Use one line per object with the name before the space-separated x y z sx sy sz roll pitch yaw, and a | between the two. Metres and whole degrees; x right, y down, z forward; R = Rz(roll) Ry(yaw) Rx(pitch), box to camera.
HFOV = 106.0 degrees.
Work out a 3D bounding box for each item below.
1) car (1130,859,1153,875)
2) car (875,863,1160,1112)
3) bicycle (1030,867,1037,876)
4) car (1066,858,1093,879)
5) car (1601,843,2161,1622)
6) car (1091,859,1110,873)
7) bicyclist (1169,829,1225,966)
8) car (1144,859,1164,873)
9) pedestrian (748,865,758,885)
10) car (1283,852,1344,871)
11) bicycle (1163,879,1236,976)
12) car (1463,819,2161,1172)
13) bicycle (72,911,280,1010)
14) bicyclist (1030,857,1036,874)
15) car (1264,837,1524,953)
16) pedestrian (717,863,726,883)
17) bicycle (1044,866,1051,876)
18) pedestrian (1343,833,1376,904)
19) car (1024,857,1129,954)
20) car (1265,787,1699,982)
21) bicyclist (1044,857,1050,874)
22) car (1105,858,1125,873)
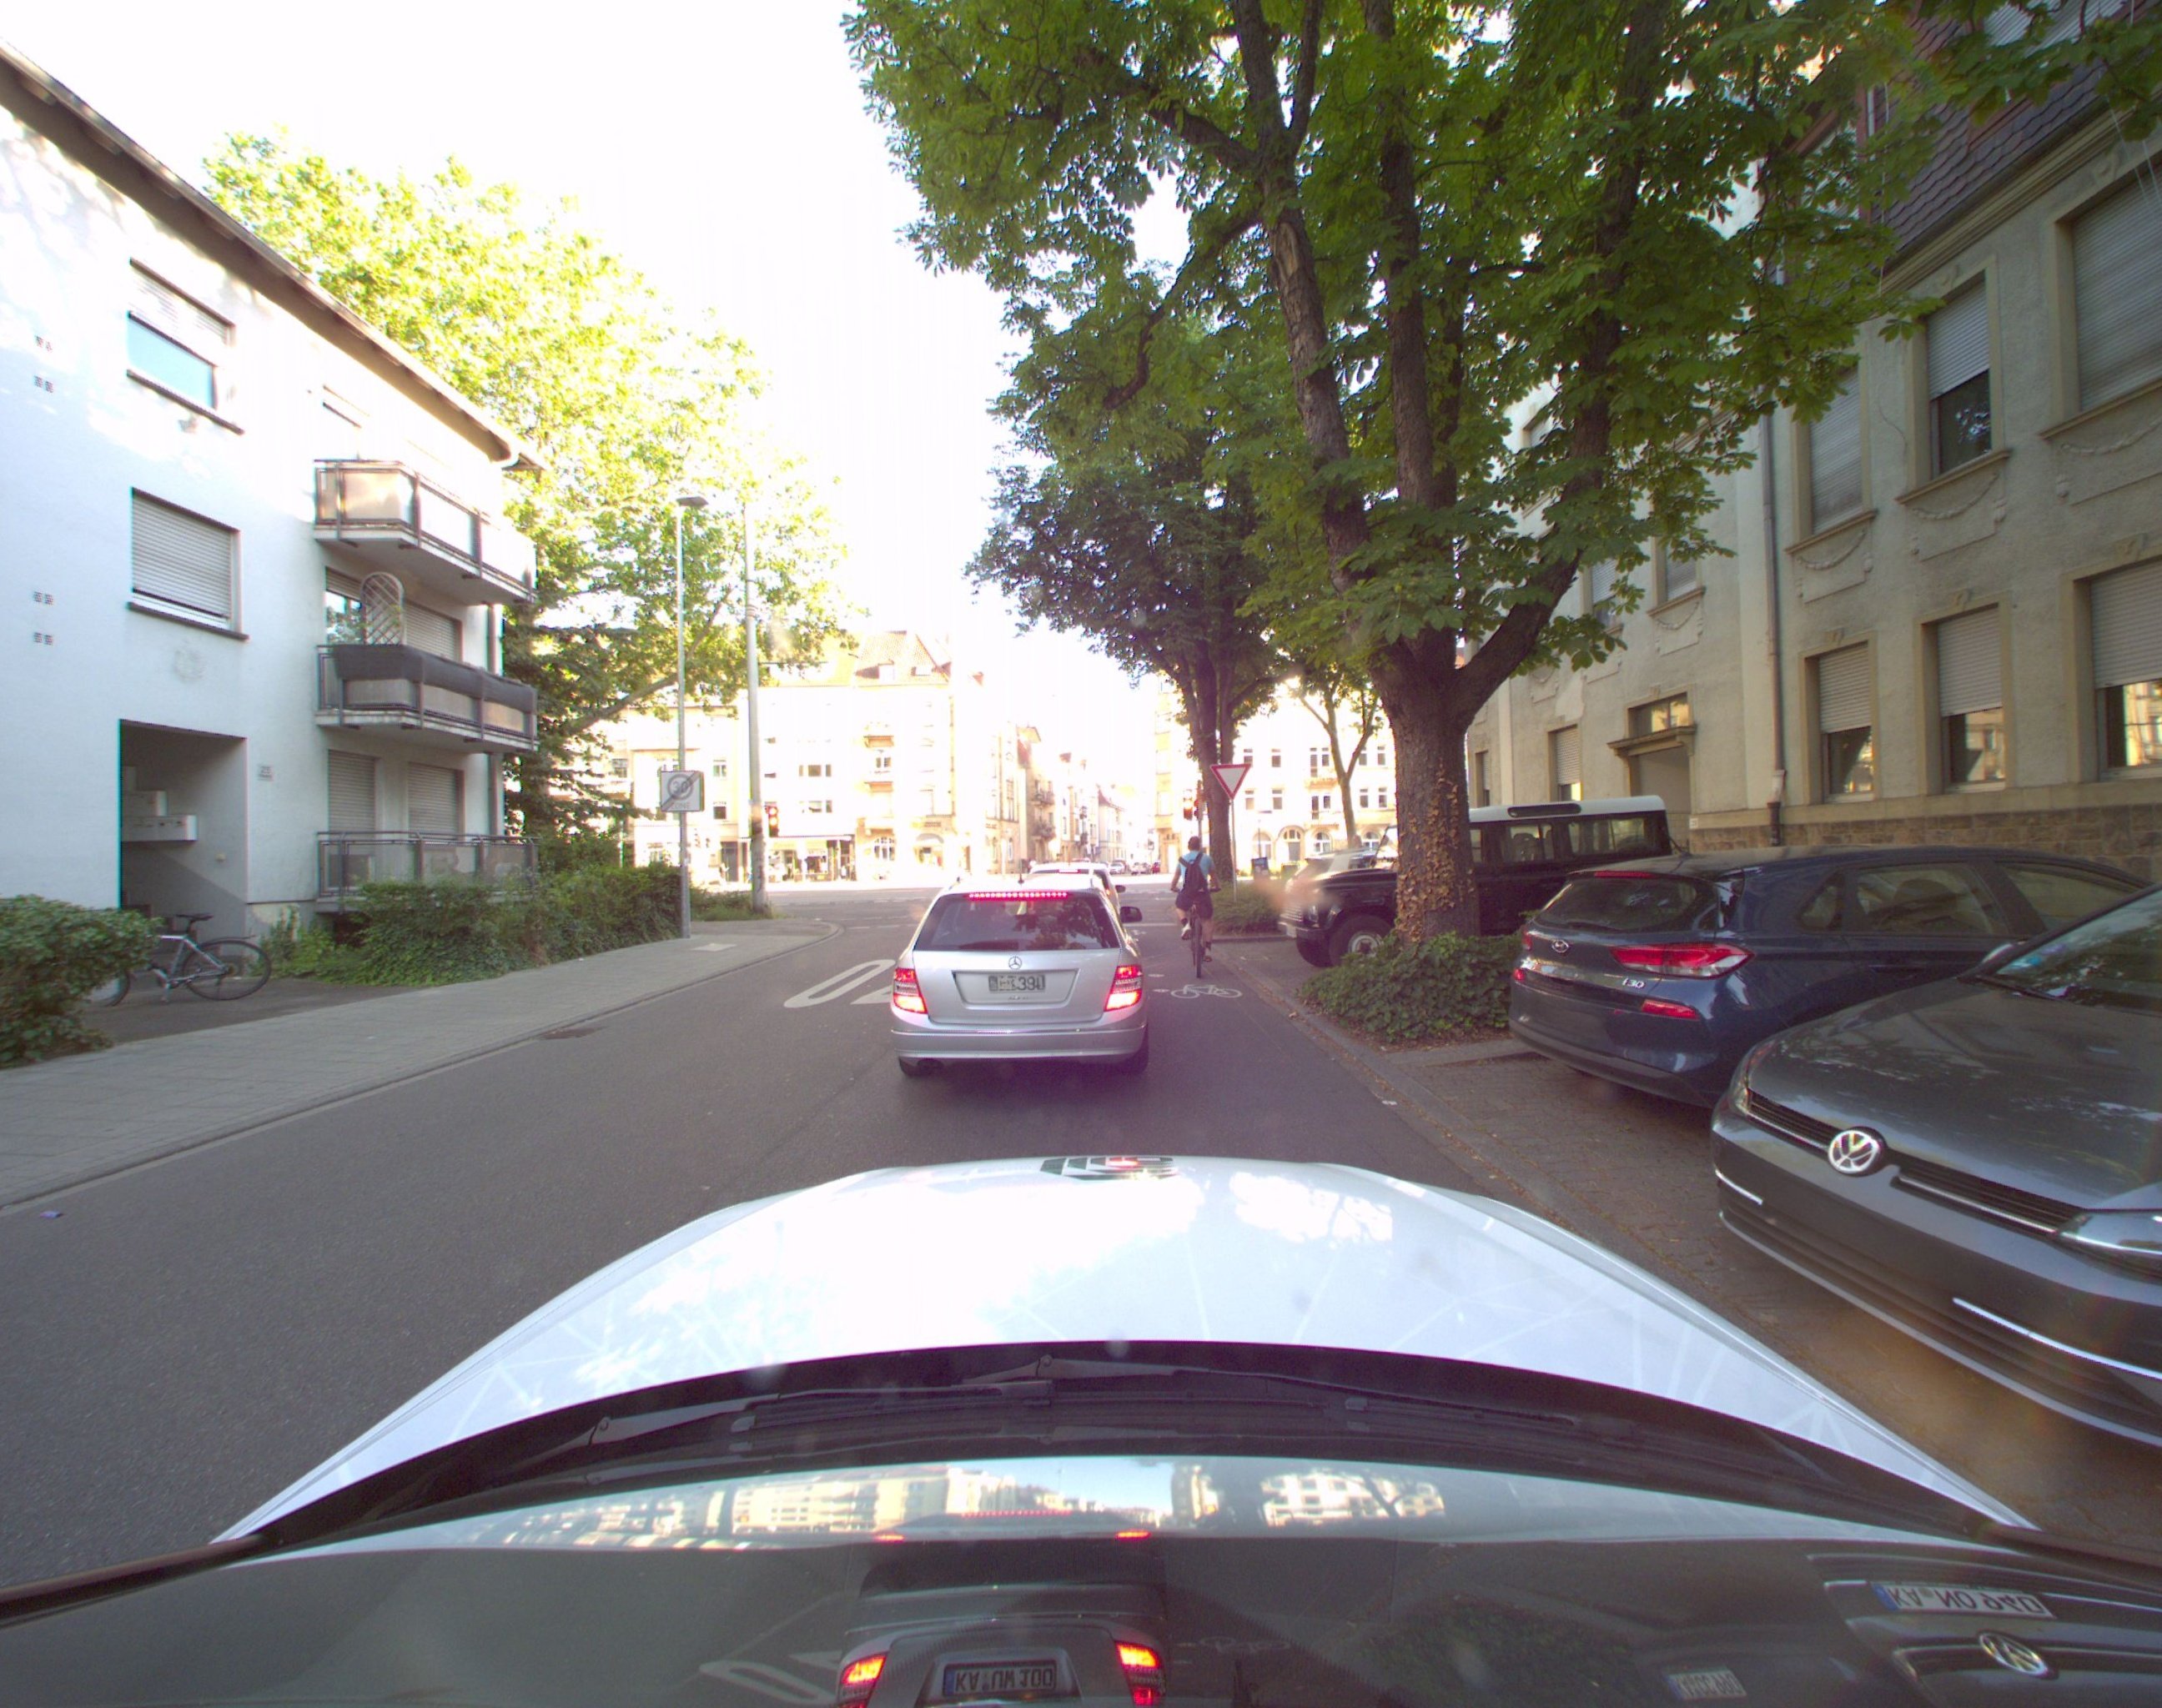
car | 6.428 1.315 85.863 1.708 1.478 4.016 -3 0 14
car | -0.396 0.808 6.586 1.685 1.429 3.491 0 0 -1
bicycle | -4.288 1.582 73.427 0.567 0.834 1.565 -1 0 -1
car | -0.105 1.396 79.956 1.926 1.958 4.161 -2 0 10
car | 4.041 0.662 2.328 4.037 1.422 1.627 -3 -1 -2
car | 2.510 1.534 102.479 1.639 1.783 3.876 -1 -1 13
bicyclist | 1.547 0.570 10.982 0.644 1.775 0.831 0 -1 1
car | 9.176 1.466 102.038 1.709 1.478 4.016 -6 -1 14
pedestrian | -26.238 1.670 65.172 0.507 1.511 0.536 -1 0 -3
car | 14.195 0.473 49.827 3.352 1.069 1.380 -2 0 0
bicycle | 1.550 0.924 10.944 0.739 1.118 2.014 0 0 2
car | 4.393 0.614 4.507 3.739 1.422 1.627 -3 -1 -2
bicycle | -10.006 1.151 9.077 1.469 0.975 0.402 2 -2 -38
bicyclist | -4.298 1.037 73.526 0.465 1.514 0.655 -1 0 -2
car | 4.943 0.611 13.145 3.475 1.586 1.708 -3 0 -5
pedestrian | -28.270 1.503 63.973 0.566 1.511 0.499 -1 0 -17
bicycle | -3.035 1.549 73.579 0.567 0.834 1.565 -1 0 -1
pedestrian | 7.440 0.380 21.784 0.630 1.845 0.574 -1 0 -2
car | -0.058 0.763 13.850 1.528 1.391 3.599 -1 0 0
car | 4.792 0.348 10.190 4.478 1.956 1.792 -3 0 -1
bicyclist | -3.055 1.007 73.646 0.465 1.521 0.693 -1 0 -2
car | 4.160 1.351 98.158 1.675 1.722 4.014 -2 0 13
